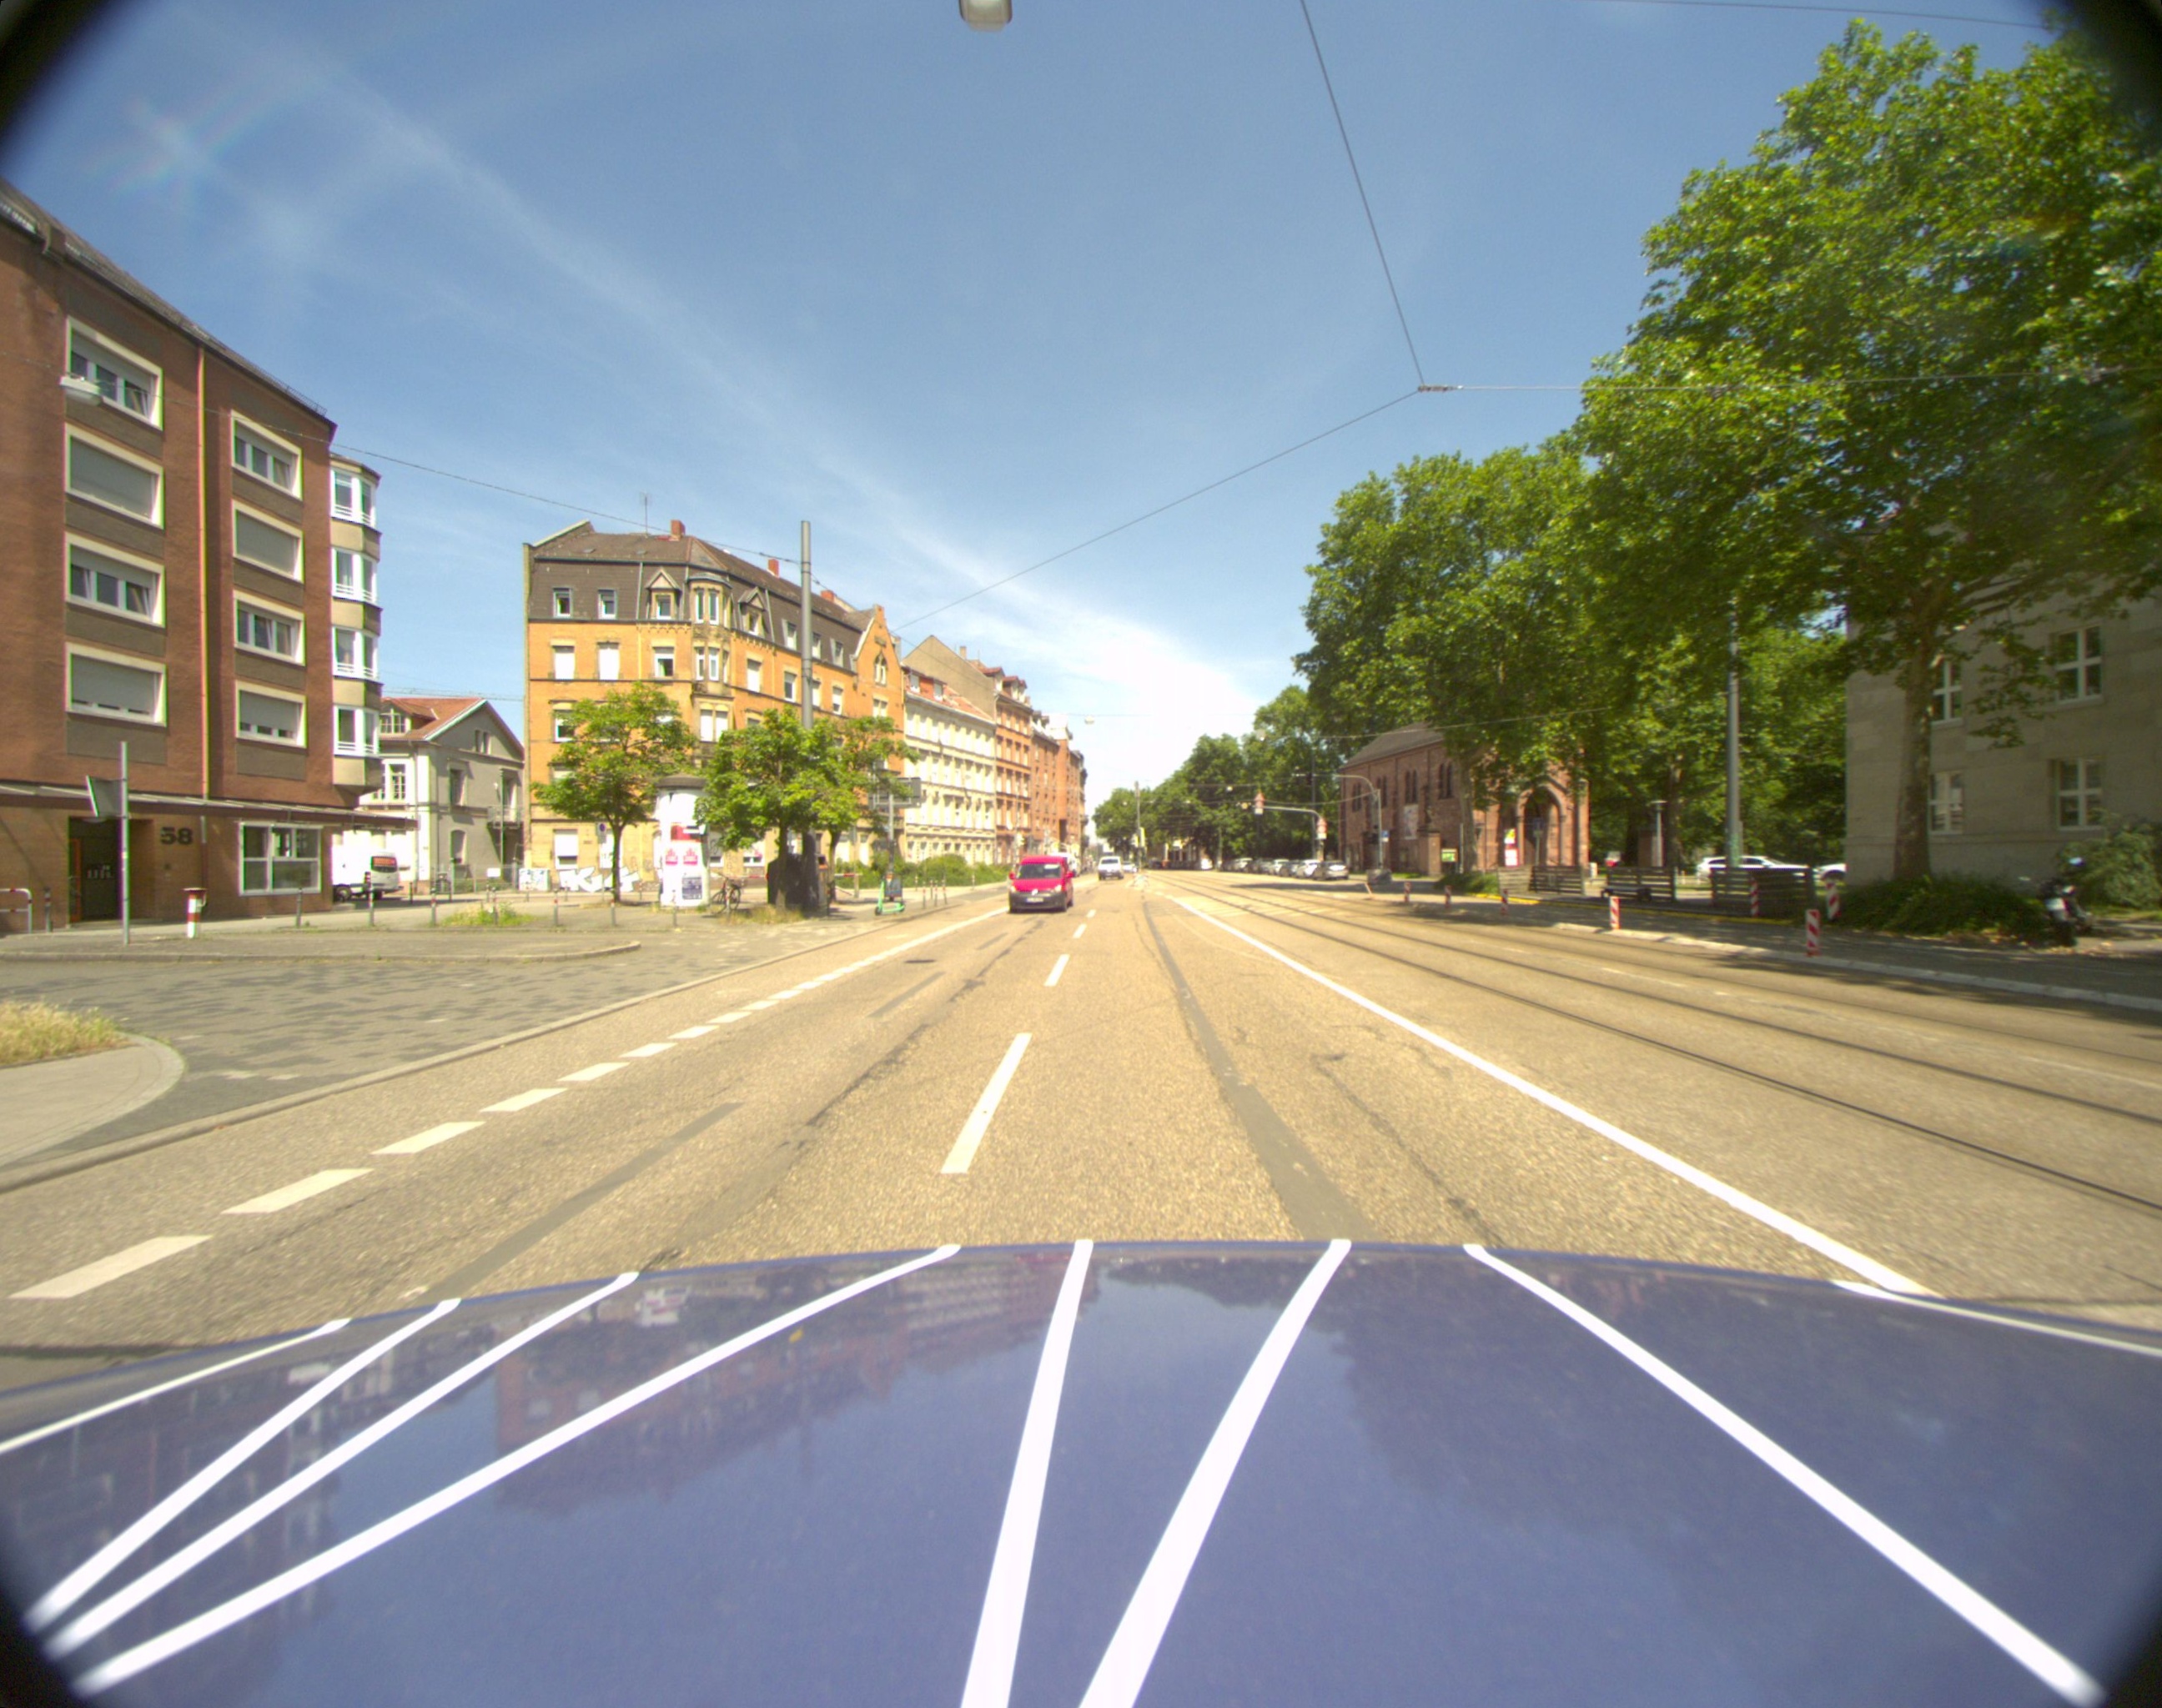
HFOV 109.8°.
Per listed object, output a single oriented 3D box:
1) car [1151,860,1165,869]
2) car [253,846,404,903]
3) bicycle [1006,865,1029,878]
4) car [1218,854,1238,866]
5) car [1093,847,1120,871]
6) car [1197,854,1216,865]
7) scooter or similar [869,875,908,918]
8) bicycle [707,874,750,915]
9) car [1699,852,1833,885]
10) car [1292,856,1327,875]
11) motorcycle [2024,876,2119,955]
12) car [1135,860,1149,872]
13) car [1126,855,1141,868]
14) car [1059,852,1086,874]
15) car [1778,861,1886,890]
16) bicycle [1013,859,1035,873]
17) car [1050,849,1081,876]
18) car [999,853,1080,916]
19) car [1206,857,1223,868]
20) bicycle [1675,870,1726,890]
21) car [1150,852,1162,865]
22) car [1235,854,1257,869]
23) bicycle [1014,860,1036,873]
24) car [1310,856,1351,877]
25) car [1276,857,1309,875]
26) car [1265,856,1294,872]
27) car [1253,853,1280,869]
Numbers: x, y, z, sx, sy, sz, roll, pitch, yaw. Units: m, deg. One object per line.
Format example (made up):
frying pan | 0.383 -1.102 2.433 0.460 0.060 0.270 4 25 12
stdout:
car | 12.395 1.681 122.240 1.751 1.387 4.346 -2 0 -2
car | -37.066 1.006 37.555 5.216 2.606 1.999 -2 0 -4
bicycle | -5.711 1.587 68.372 1.918 1.173 0.493 -2 0 6
car | 19.030 0.750 98.480 1.747 1.489 4.188 -2 0 0
car | 2.166 0.464 65.238 2.165 1.926 4.854 -2 0 1
car | 18.187 0.796 110.305 1.977 1.553 3.999 -2 0 -2
scooter or similar | -5.680 1.242 22.490 0.390 1.207 1.182 3 -1 25
bicycle | -10.537 1.183 22.758 0.487 1.146 1.708 -2 0 -2
car | 33.358 0.703 37.120 1.918 1.499 4.524 -2 0 -33
car | 18.392 0.906 61.297 1.662 1.450 4.059 -2 0 1
motorcycle | 17.193 1.021 13.175 1.874 1.062 0.725 -7 3 -29
car | 8.626 1.665 107.843 1.800 1.564 4.001 -2 0 3
car | 6.485 0.881 94.088 1.800 1.564 4.001 -2 0 3
car | -0.786 0.863 76.058 1.997 2.123 5.275 2 0 6
car | 38.380 1.071 38.906 1.723 1.368 3.586 -2 0 -30
bicycle | -5.192 1.108 69.457 1.918 1.173 0.493 -2 0 6
car | -1.383 0.772 69.737 1.997 2.317 5.410 2 0 6
car | -1.233 0.910 24.931 1.859 1.823 5.168 -2 0 5
car | 18.171 1.127 103.843 1.650 1.372 3.765 -2 0 0
bicycle | 30.501 1.263 37.447 0.645 0.895 1.905 -2 0 -19
car | 14.496 0.874 147.031 1.821 2.283 3.761 -2 0 -1
car | 18.996 0.821 87.511 1.747 1.643 3.906 -2 0 2
bicycle | -5.188 1.136 70.359 1.918 1.173 0.493 -2 0 6
car | 18.462 0.911 56.400 1.662 1.450 4.221 -2 0 1
car | 18.465 1.021 66.475 1.662 1.450 4.059 -2 0 0
car | 18.646 0.941 71.425 1.747 1.450 3.753 -2 0 0
car | 18.718 0.722 76.728 1.747 1.514 3.753 -2 0 0
